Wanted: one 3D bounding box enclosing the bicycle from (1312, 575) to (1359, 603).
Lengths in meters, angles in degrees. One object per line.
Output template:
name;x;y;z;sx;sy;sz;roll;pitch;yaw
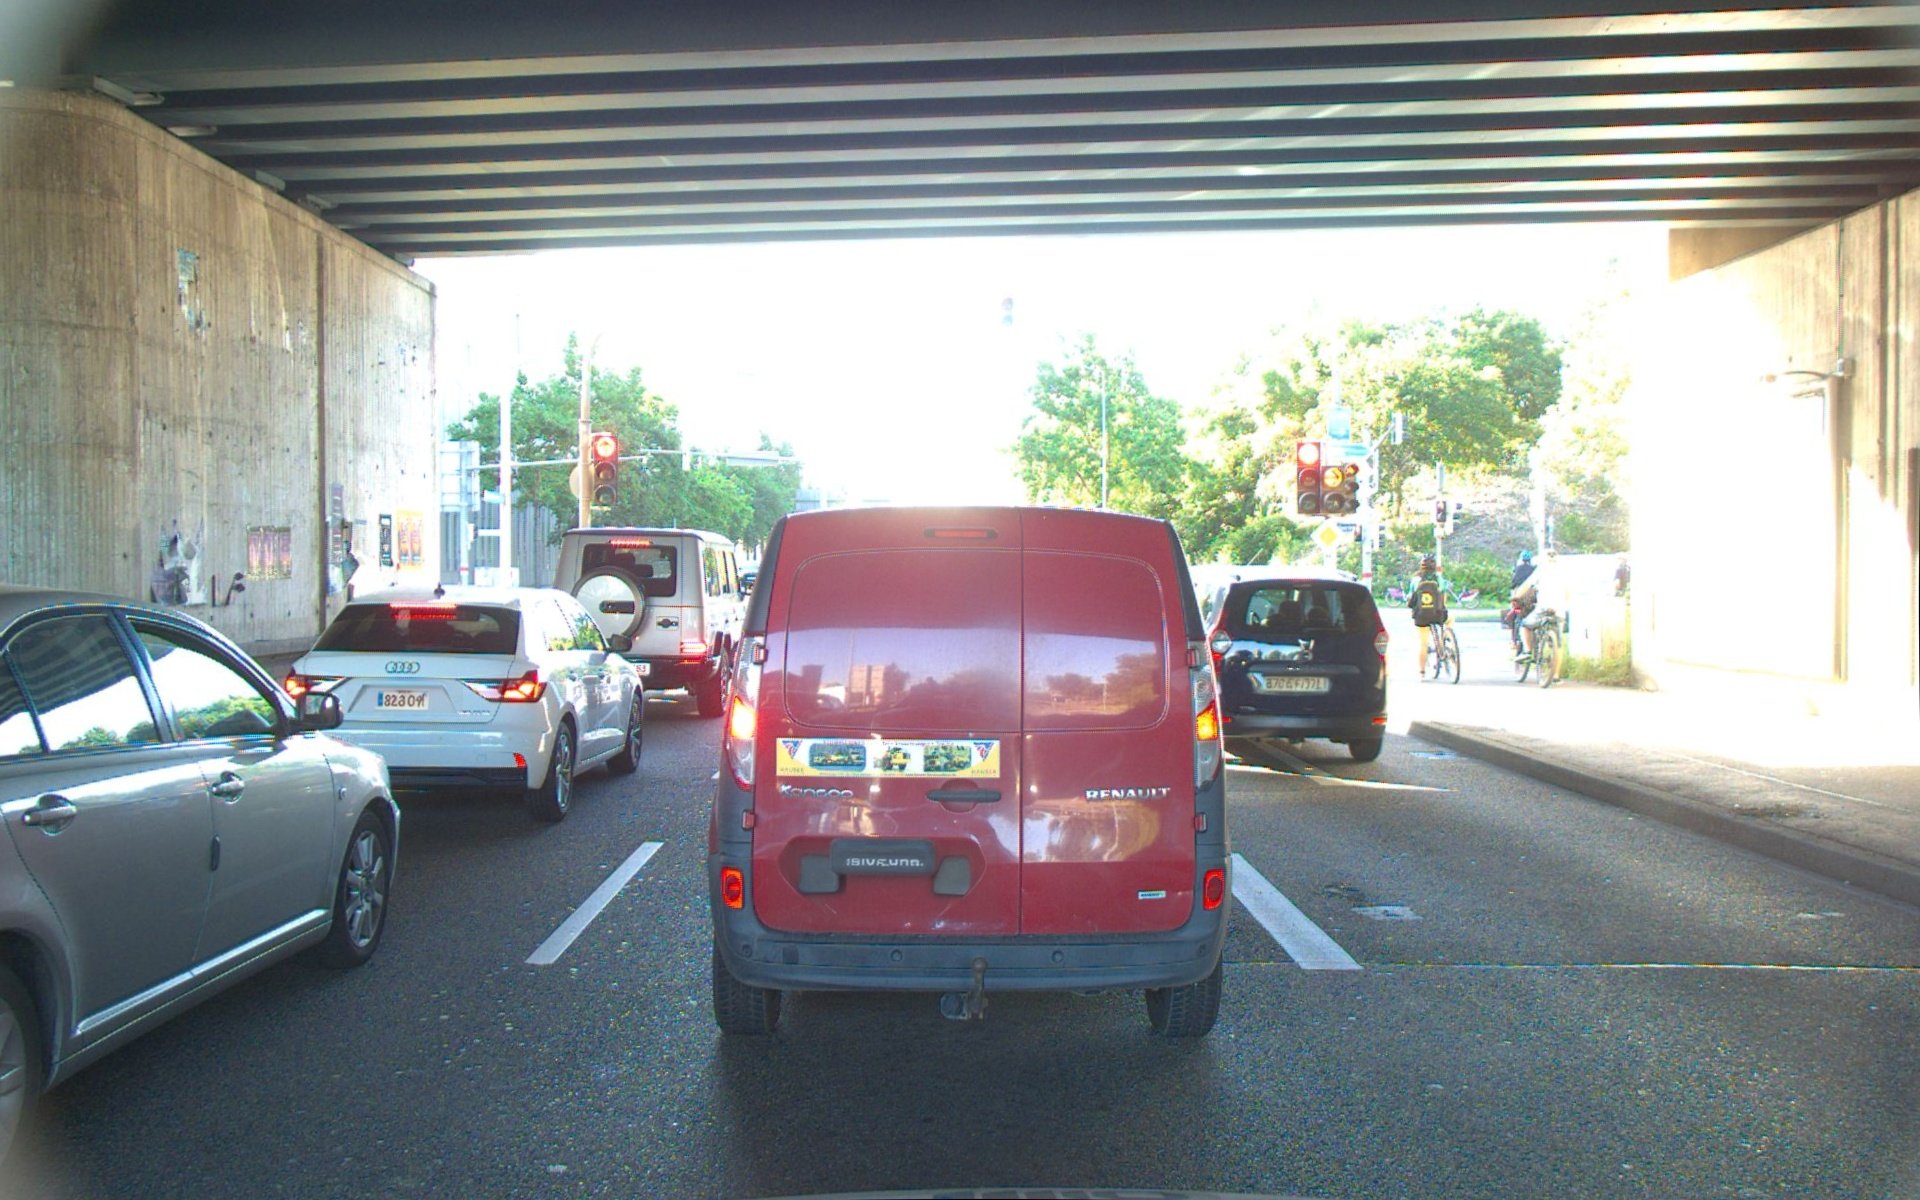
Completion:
bicycle;14.204;-0.413;62.595;1.707;1.041;0.594;1;0;8

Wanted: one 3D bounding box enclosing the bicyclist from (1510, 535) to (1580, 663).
bicyclist;7.336;-0.012;20.771;0.580;1.575;0.769;1;-1;-1

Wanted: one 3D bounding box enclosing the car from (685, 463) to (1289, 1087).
car;0.056;0.530;6.911;1.768;1.826;3.999;1;0;-1

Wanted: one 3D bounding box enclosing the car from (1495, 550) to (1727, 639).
car;14.533;-0.122;37.005;4.552;1.918;1.882;0;0;-10

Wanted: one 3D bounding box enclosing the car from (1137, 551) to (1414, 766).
car;2.776;0.468;15.391;1.684;1.736;3.980;0;0;-2

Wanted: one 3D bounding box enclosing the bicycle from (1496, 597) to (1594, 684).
bicycle;7.325;0.491;20.781;0.579;1.041;1.750;1;0;-1

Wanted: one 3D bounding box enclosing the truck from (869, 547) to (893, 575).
truck;-9.252;-4.489;193.141;2.360;3.079;6.657;-2;1;0

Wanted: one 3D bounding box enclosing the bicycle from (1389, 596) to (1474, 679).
bicycle;6.207;0.476;21.844;0.579;1.041;1.750;1;0;-1

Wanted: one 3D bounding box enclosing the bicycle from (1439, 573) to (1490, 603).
bicycle;18.355;-0.432;60.212;1.707;1.041;0.594;1;0;10

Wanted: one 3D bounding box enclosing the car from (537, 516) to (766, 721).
car;-3.348;0.193;18.813;1.764;2.023;4.588;1;0;-1

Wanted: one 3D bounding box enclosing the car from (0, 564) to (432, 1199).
car;-3.010;0.666;4.817;1.698;1.506;4.317;0;0;-2

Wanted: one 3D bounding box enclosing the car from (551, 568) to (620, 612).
car;-16.116;-0.439;71.379;1.787;1.768;4.630;-2;1;1

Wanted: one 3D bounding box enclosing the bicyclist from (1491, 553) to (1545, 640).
bicyclist;9.822;-0.056;29.110;0.654;1.500;0.747;0;-1;40

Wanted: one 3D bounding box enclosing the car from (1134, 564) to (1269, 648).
car;4.907;0.108;33.191;1.842;1.570;4.194;0;0;20

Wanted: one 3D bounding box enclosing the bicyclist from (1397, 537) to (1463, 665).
bicyclist;6.199;0.019;21.843;0.580;1.642;0.942;1;0;-1

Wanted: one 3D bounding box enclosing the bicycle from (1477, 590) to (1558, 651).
bicycle;9.839;0.357;29.136;0.661;1.041;2.044;1;-1;40

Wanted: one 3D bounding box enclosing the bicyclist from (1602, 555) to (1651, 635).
bicyclist;12.669;-0.094;31.451;0.637;1.506;0.617;0;1;-6

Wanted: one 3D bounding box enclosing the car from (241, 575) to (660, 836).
car;-3.256;0.578;11.343;1.777;1.463;3.730;1;1;-1

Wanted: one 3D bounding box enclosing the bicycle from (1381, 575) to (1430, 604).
bicycle;16.472;-0.380;61.167;1.707;1.041;0.594;1;0;8
